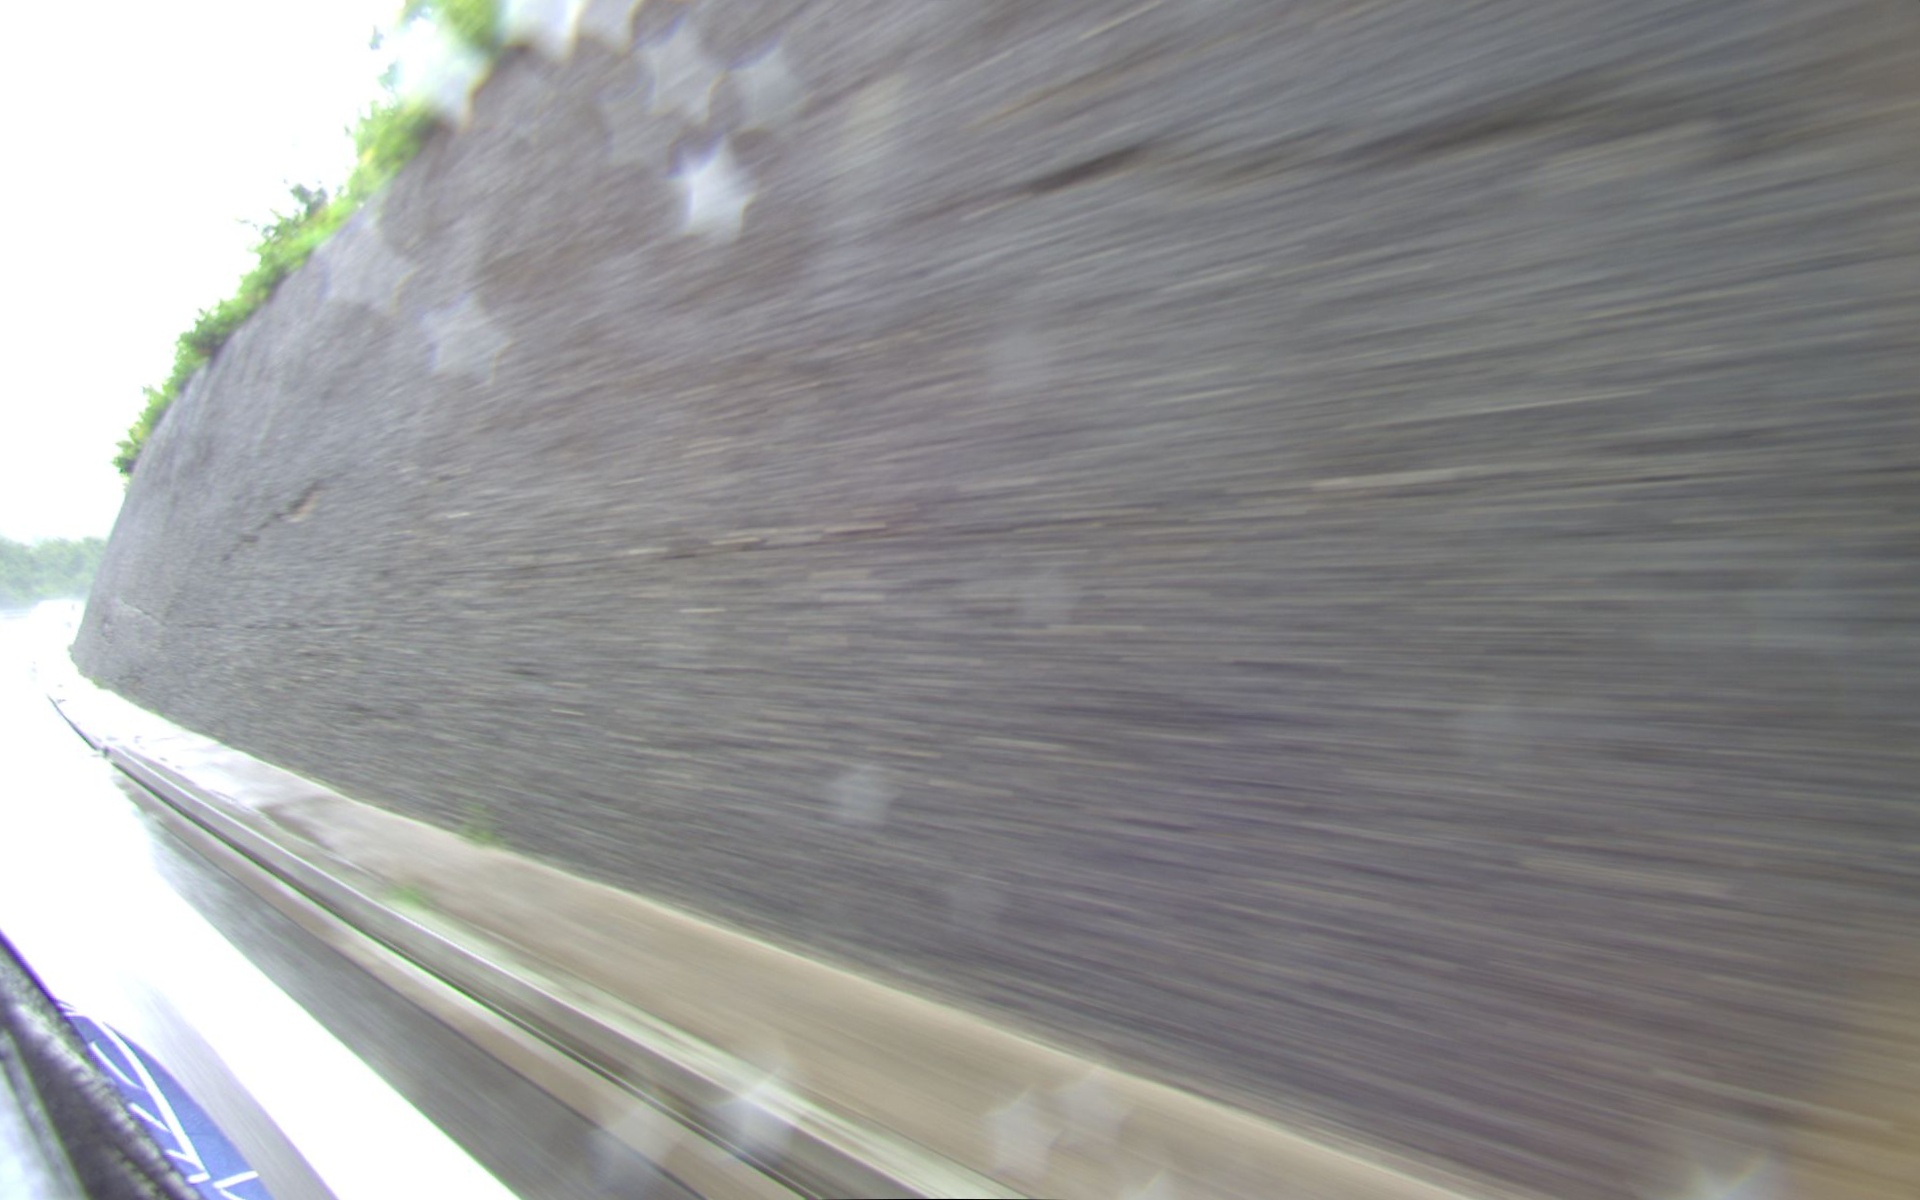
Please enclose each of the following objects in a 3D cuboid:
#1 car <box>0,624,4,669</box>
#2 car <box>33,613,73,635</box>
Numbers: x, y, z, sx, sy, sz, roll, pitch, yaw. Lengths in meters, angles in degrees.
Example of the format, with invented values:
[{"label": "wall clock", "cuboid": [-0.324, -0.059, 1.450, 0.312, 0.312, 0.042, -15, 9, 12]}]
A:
[{"label": "car", "cuboid": [-30.454, 1.490, 30.755, 1.800, 1.393, 4.006, -4, 2, -41]}, {"label": "car", "cuboid": [-63.862, 1.665, 71.296, 1.800, 1.393, 4.008, -4, 2, -39]}]
